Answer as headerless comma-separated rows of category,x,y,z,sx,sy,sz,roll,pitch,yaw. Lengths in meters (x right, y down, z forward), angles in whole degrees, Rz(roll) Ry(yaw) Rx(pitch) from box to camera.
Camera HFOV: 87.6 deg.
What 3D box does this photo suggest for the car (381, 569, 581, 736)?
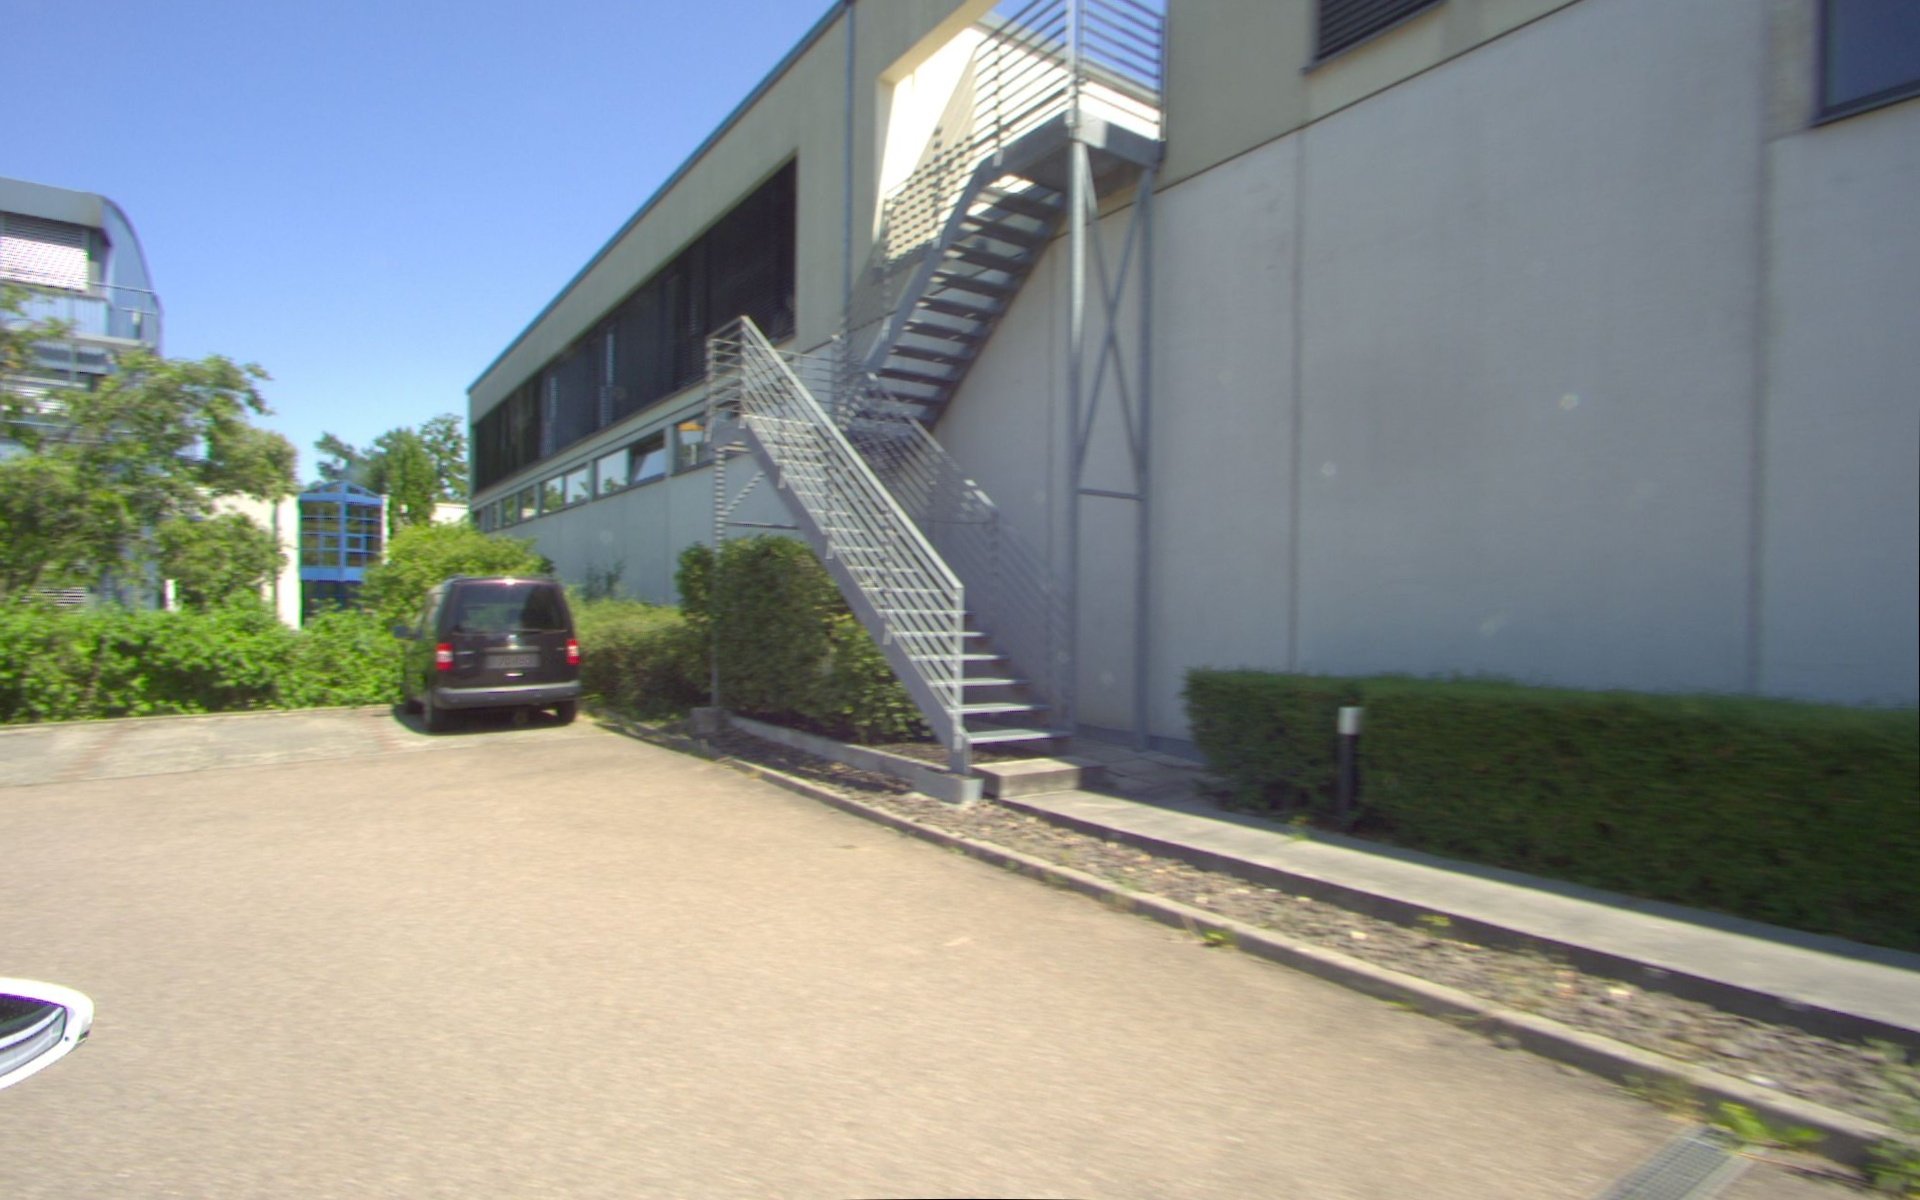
car,-6.467,0.595,13.286,1.727,1.861,3.972,-1,0,-36
